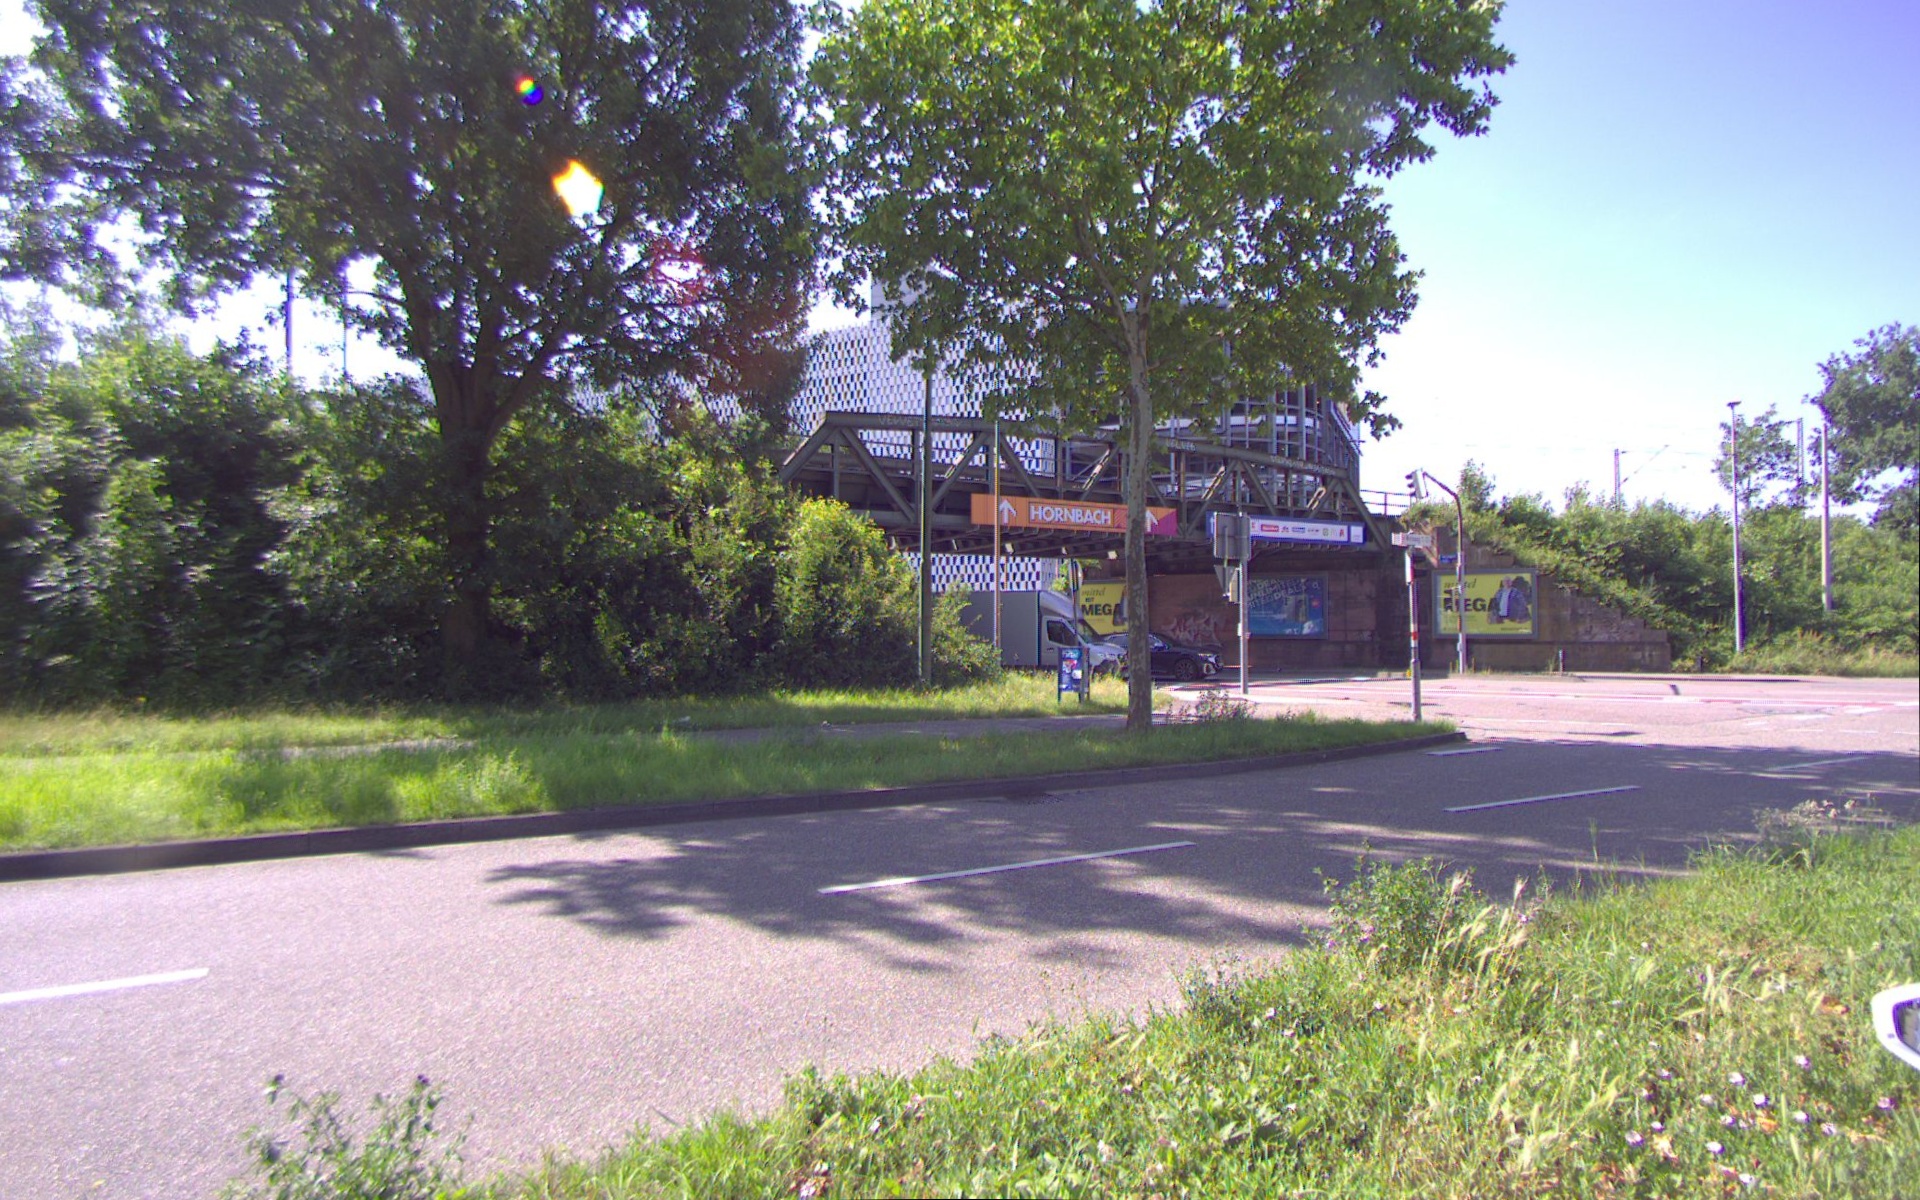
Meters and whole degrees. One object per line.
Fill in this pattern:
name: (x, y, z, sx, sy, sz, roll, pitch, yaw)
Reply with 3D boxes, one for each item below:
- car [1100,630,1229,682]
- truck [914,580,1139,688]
car: (6.959, 1.889, 34.227, 3.926, 1.668, 1.902, -2, -2, 27)
truck: (2.031, 1.115, 31.730, 6.739, 3.146, 2.216, -2, -2, 27)
